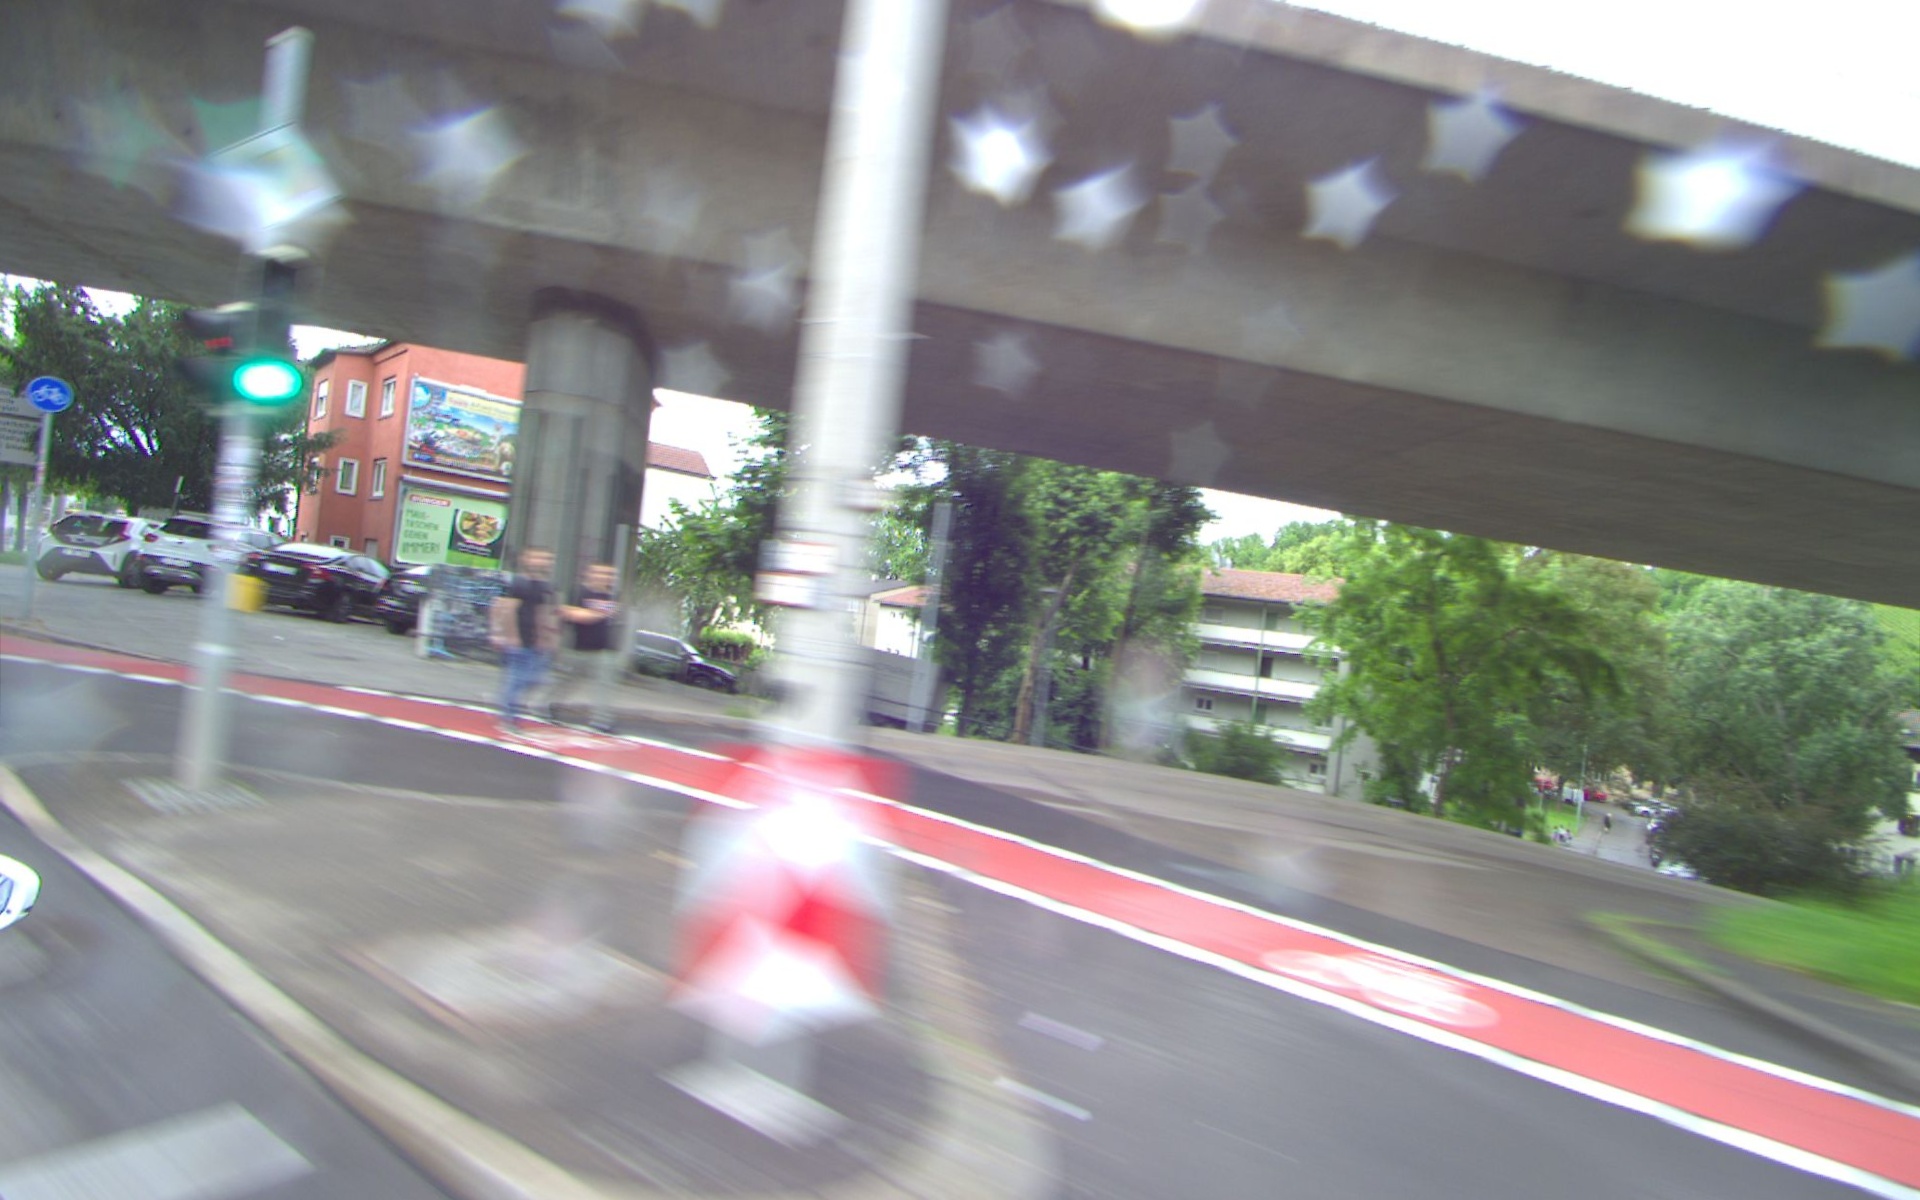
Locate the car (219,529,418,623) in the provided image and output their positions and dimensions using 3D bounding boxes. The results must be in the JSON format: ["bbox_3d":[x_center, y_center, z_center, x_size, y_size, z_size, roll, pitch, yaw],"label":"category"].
[{"bbox_3d":[-12.732,-0.378,20.297,1.757,1.455,4.047,8,-2,-9],"label":"car"}]

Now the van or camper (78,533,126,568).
[{"bbox_3d":[-54.965,-3.135,64.511,1.842,1.942,4.947,7,-3,-37],"label":"van or camper"}]

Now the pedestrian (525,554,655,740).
[{"bbox_3d":[-3.944,0.508,10.766,0.892,1.842,0.600,6,-3,17],"label":"pedestrian"}]

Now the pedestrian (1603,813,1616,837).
[{"bbox_3d":[54.481,18.874,84.399,0.717,1.829,0.733,5,-3,34],"label":"pedestrian"}]

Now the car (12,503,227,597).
[{"bbox_3d":[-18.053,-0.996,21.869,1.772,1.539,3.733,8,-2,-9],"label":"car"}]

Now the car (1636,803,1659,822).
[{"bbox_3d":[73.327,22.627,107.313,1.859,1.467,4.151,6,-3,34],"label":"car"}]

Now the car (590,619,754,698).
[{"bbox_3d":[-8.343,1.739,29.298,3.980,1.612,1.977,13,-5,-42],"label":"car"}]

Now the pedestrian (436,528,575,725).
[{"bbox_3d":[-4.504,0.273,9.996,0.820,1.827,0.628,6,-3,21],"label":"pedestrian"}]

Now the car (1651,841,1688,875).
[{"bbox_3d":[45.248,16.419,64.171,1.713,1.429,3.552,6,-3,36],"label":"car"}]

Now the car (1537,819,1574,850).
[{"bbox_3d":[41.941,16.492,70.815,1.859,1.467,4.151,6,-3,34],"label":"car"}]

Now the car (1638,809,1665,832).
[{"bbox_3d":[63.223,20.154,92.031,1.859,1.467,4.151,6,-3,34],"label":"car"}]

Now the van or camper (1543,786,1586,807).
[{"bbox_3d":[66.912,21.775,111.443,1.690,1.467,4.152,8,-3,-11],"label":"van or camper"}]

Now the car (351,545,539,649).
[{"bbox_3d":[-10.119,0.042,20.154,1.872,1.588,4.002,8,-4,-6],"label":"car"}]

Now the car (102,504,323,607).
[{"bbox_3d":[-15.583,-0.828,21.282,1.934,1.649,4.021,8,-2,-9],"label":"car"}]

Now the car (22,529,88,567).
[{"bbox_3d":[-42.142,-2.376,46.942,1.668,1.438,4.523,9,-4,-36],"label":"car"}]
